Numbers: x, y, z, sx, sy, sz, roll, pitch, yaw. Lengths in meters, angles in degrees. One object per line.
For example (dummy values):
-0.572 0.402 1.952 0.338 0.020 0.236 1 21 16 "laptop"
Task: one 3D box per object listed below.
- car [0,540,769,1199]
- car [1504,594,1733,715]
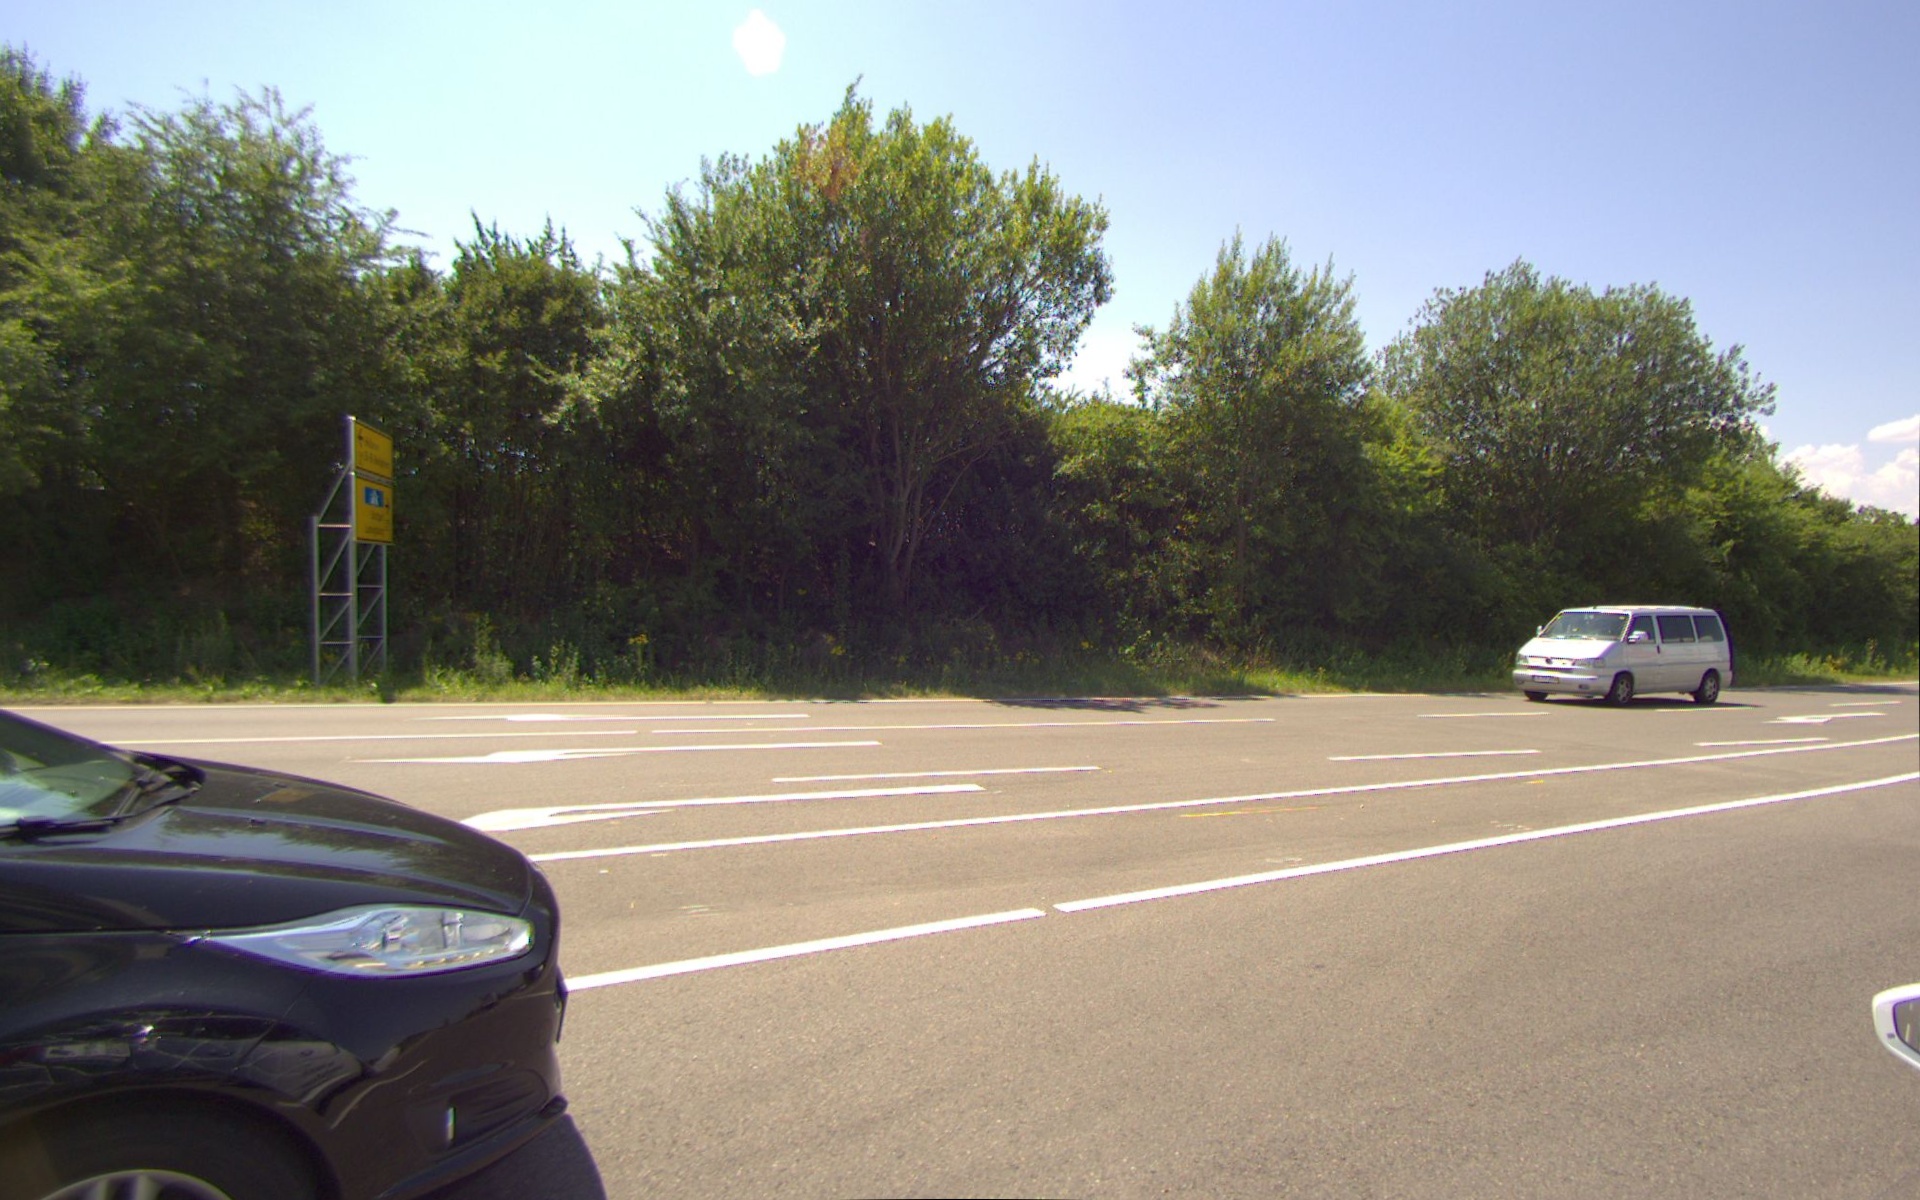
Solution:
-2.585 0.662 1.707 4.158 1.514 1.645 0 0 -30 "car"
13.150 0.959 20.000 4.786 2.041 1.963 -1 3 -32 "car"
